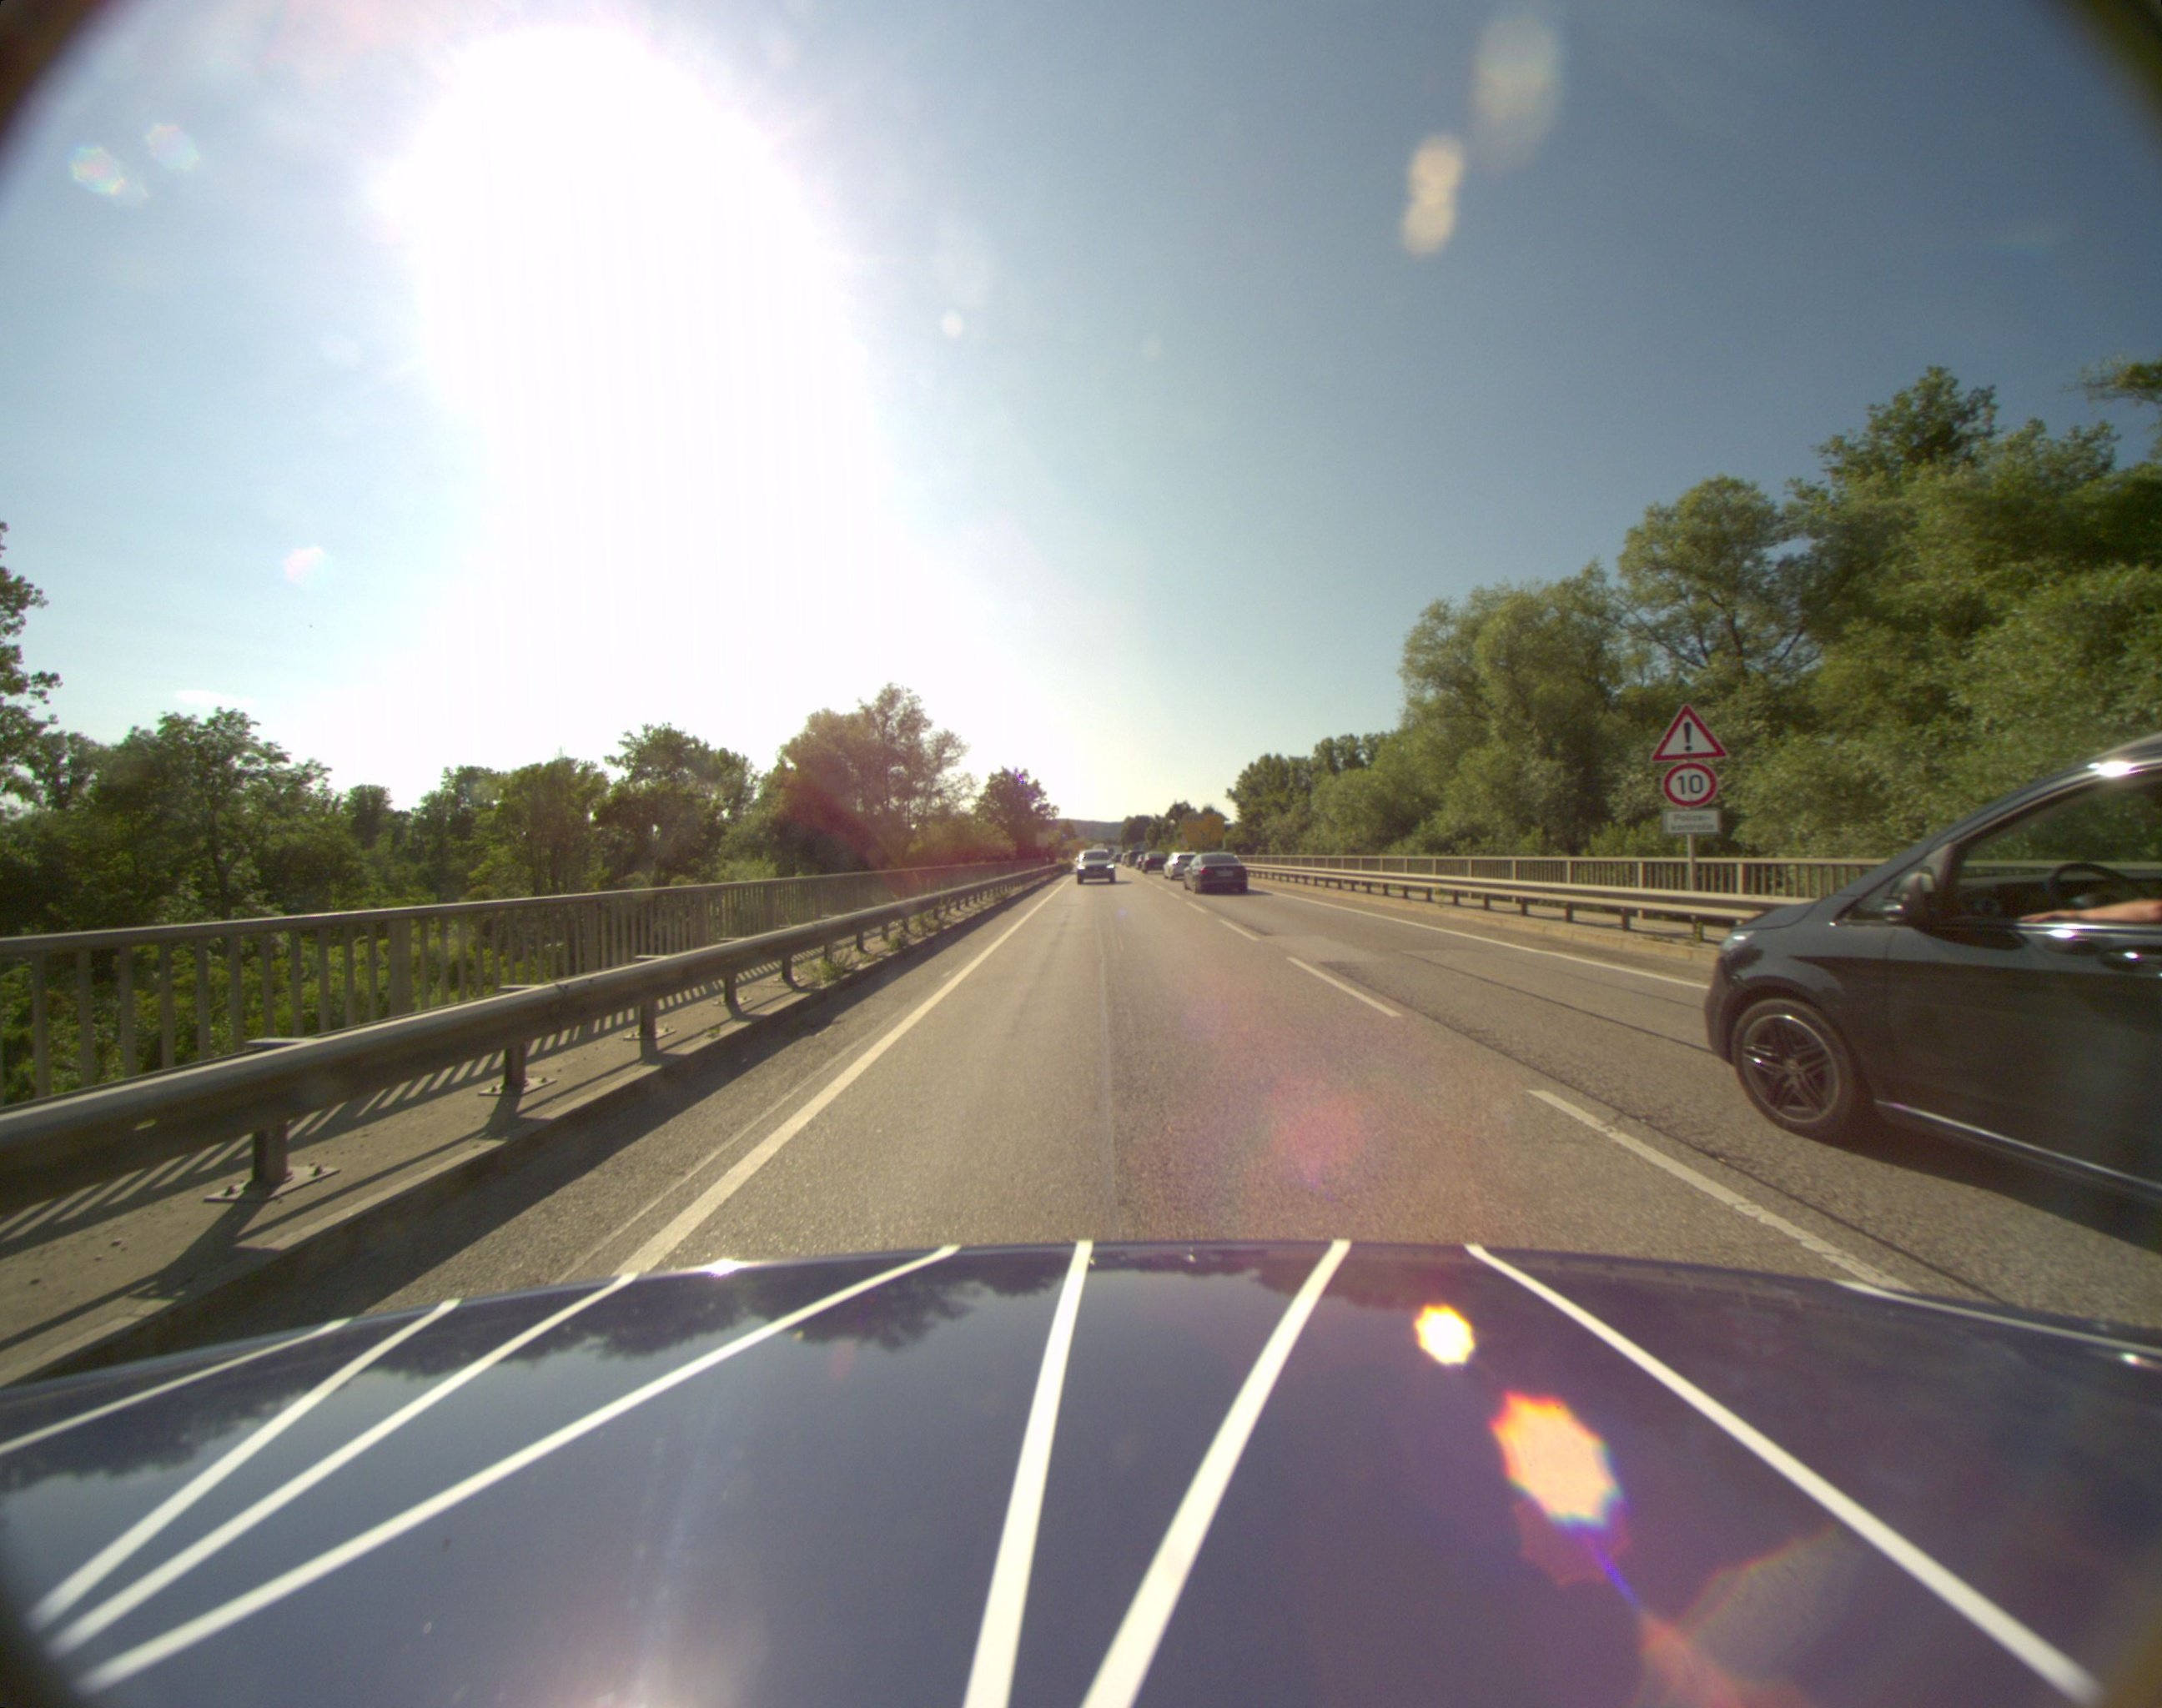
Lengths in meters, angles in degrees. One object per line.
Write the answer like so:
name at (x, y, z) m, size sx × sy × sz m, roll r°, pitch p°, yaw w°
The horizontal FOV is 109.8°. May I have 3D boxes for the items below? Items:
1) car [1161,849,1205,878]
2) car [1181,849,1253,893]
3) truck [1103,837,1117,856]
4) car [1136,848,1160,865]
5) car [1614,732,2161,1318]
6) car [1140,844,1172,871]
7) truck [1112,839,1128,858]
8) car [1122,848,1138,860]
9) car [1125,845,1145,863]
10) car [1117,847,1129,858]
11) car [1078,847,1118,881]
car at (5.477, 0.481, 41.268) m, size 1.736 × 1.427 × 4.486 m, roll -1°, pitch 1°, yaw -1°
car at (4.913, 0.571, 28.042) m, size 1.791 × 1.412 × 4.650 m, roll -1°, pitch 1°, yaw 0°
truck at (6.656, -1.741, 175.175) m, size 2.744 × 4.303 × 8.130 m, roll -2°, pitch 0°, yaw 1°
car at (6.228, 0.218, 70.678) m, size 1.893 × 1.479 × 4.273 m, roll -2°, pitch 0°, yaw 1°
car at (4.383, 0.516, 2.419) m, size 1.988 × 1.843 × 5.008 m, roll -1°, pitch 1°, yaw 2°
car at (5.405, 0.206, 55.187) m, size 1.972 × 1.796 × 4.530 m, roll -2°, pitch 1°, yaw 2°
truck at (7.033, -1.026, 138.226) m, size 2.620 × 3.235 × 6.967 m, roll -2°, pitch 0°, yaw 1°
car at (6.516, -0.025, 100.682) m, size 1.824 × 1.537 × 4.061 m, roll -2°, pitch 0°, yaw 0°
car at (5.871, -0.017, 83.221) m, size 1.972 × 1.796 × 4.531 m, roll -2°, pitch 0°, yaw 2°
car at (6.672, -0.271, 121.756) m, size 1.743 × 1.655 × 4.046 m, roll -2°, pitch 0°, yaw 1°
car at (0.897, 0.470, 38.769) m, size 1.871 × 1.599 × 4.380 m, roll -2°, pitch 0°, yaw 2°
